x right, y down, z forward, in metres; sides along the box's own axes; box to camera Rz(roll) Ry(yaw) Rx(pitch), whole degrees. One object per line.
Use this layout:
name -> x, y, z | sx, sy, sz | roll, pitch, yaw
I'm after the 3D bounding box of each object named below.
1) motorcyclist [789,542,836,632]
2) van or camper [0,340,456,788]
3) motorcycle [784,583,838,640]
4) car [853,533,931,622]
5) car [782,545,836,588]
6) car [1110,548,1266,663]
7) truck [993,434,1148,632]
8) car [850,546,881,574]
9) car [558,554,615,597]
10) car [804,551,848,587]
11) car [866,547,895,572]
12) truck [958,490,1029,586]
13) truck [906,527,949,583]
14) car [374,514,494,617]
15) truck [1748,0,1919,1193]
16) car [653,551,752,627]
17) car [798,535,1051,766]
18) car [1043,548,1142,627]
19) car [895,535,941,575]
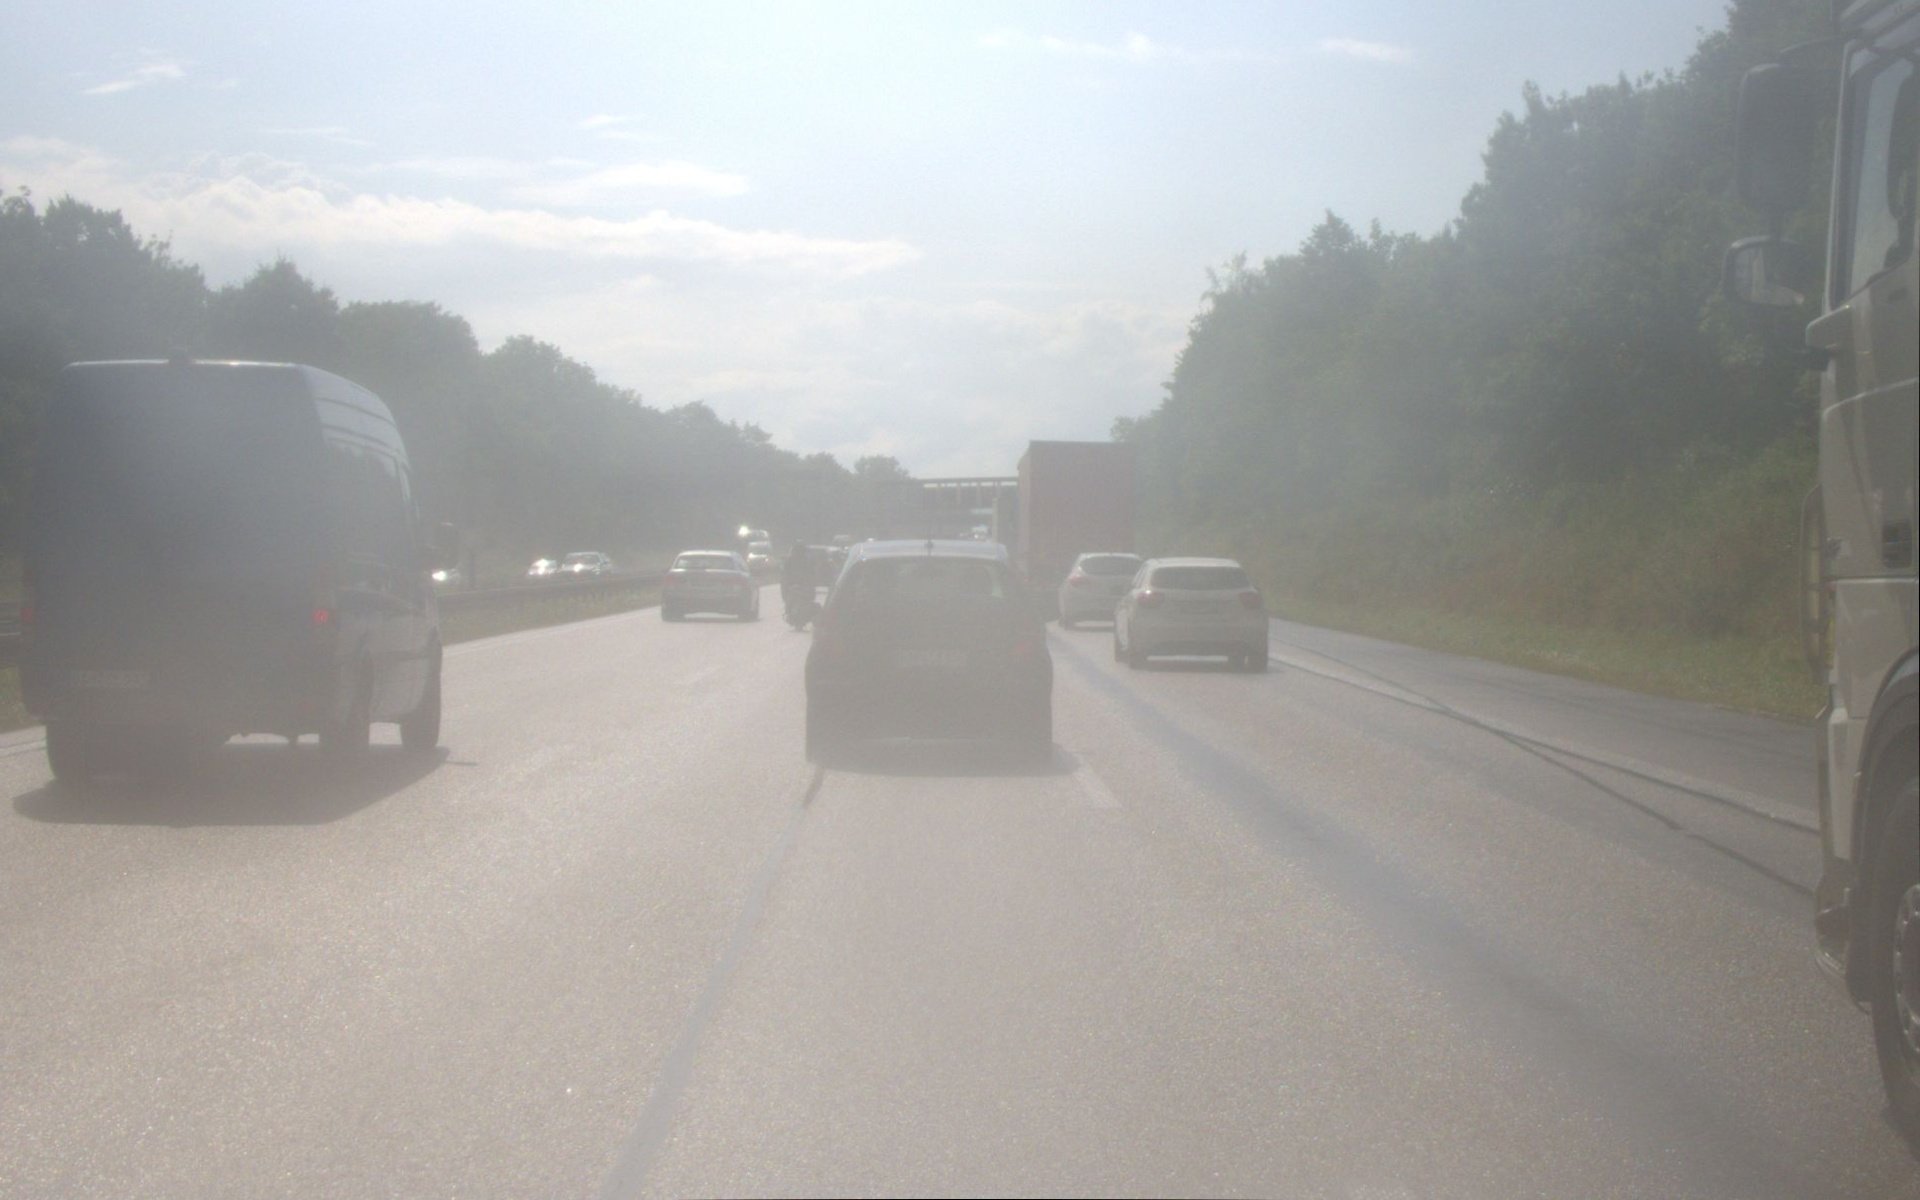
motorcyclist -> -2.702, -0.242, 63.009 | 0.801, 1.627, 1.013 | 1, 0, -1
van or camper -> -4.779, -0.245, 23.297 | 1.993, 2.659, 5.385 | 1, 1, -1
motorcycle -> -2.724, 0.204, 63.058 | 0.890, 0.997, 2.896 | 1, 1, -1
car -> -1.379, -0.469, 70.369 | 1.531, 1.740, 3.485 | 1, 1, -1
car -> -5.264, -1.173, 119.964 | 1.751, 1.452, 3.390 | 1, 1, -1
car -> 2.946, 0.049, 45.194 | 1.692, 1.420, 4.220 | 1, 1, -1
truck -> 2.770, -1.698, 90.818 | 3.650, 4.704, 16.779 | 1, 1, 1
car -> -4.729, -2.000, 172.626 | 1.485, 1.385, 3.198 | 1, 1, -1
car -> -14.818, -0.970, 136.663 | 1.837, 1.657, 4.441 | 1, 1, -1
car -> -5.610, -1.306, 144.660 | 1.751, 1.452, 3.390 | 1, 1, -1
car -> -5.535, -2.811, 239.898 | 1.993, 1.695, 4.000 | -1, 1, -1
truck -> 1.657, -2.966, 166.664 | 3.256, 4.464, 12.421 | 1, 1, 1
truck -> -1.721, -2.325, 178.958 | 2.192, 2.865, 4.850 | 1, 1, -1
car -> -13.013, -0.849, 85.378 | 2.183, 2.444, 5.748 | 1, 1, -1
truck -> 3.618, -0.547, 6.226 | 2.607, 3.982, 7.290 | 1, 1, 0
car -> -5.381, -0.246, 72.116 | 1.854, 1.546, 3.485 | 1, 1, -1
car -> -0.271, 0.329, 25.371 | 1.717, 1.562, 3.485 | 1, 1, -1
car -> 2.521, -0.252, 66.040 | 1.680, 1.437, 3.905 | 1, 1, -1
car -> -1.467, -1.566, 119.988 | 1.552, 1.378, 3.210 | 1, 1, -1
